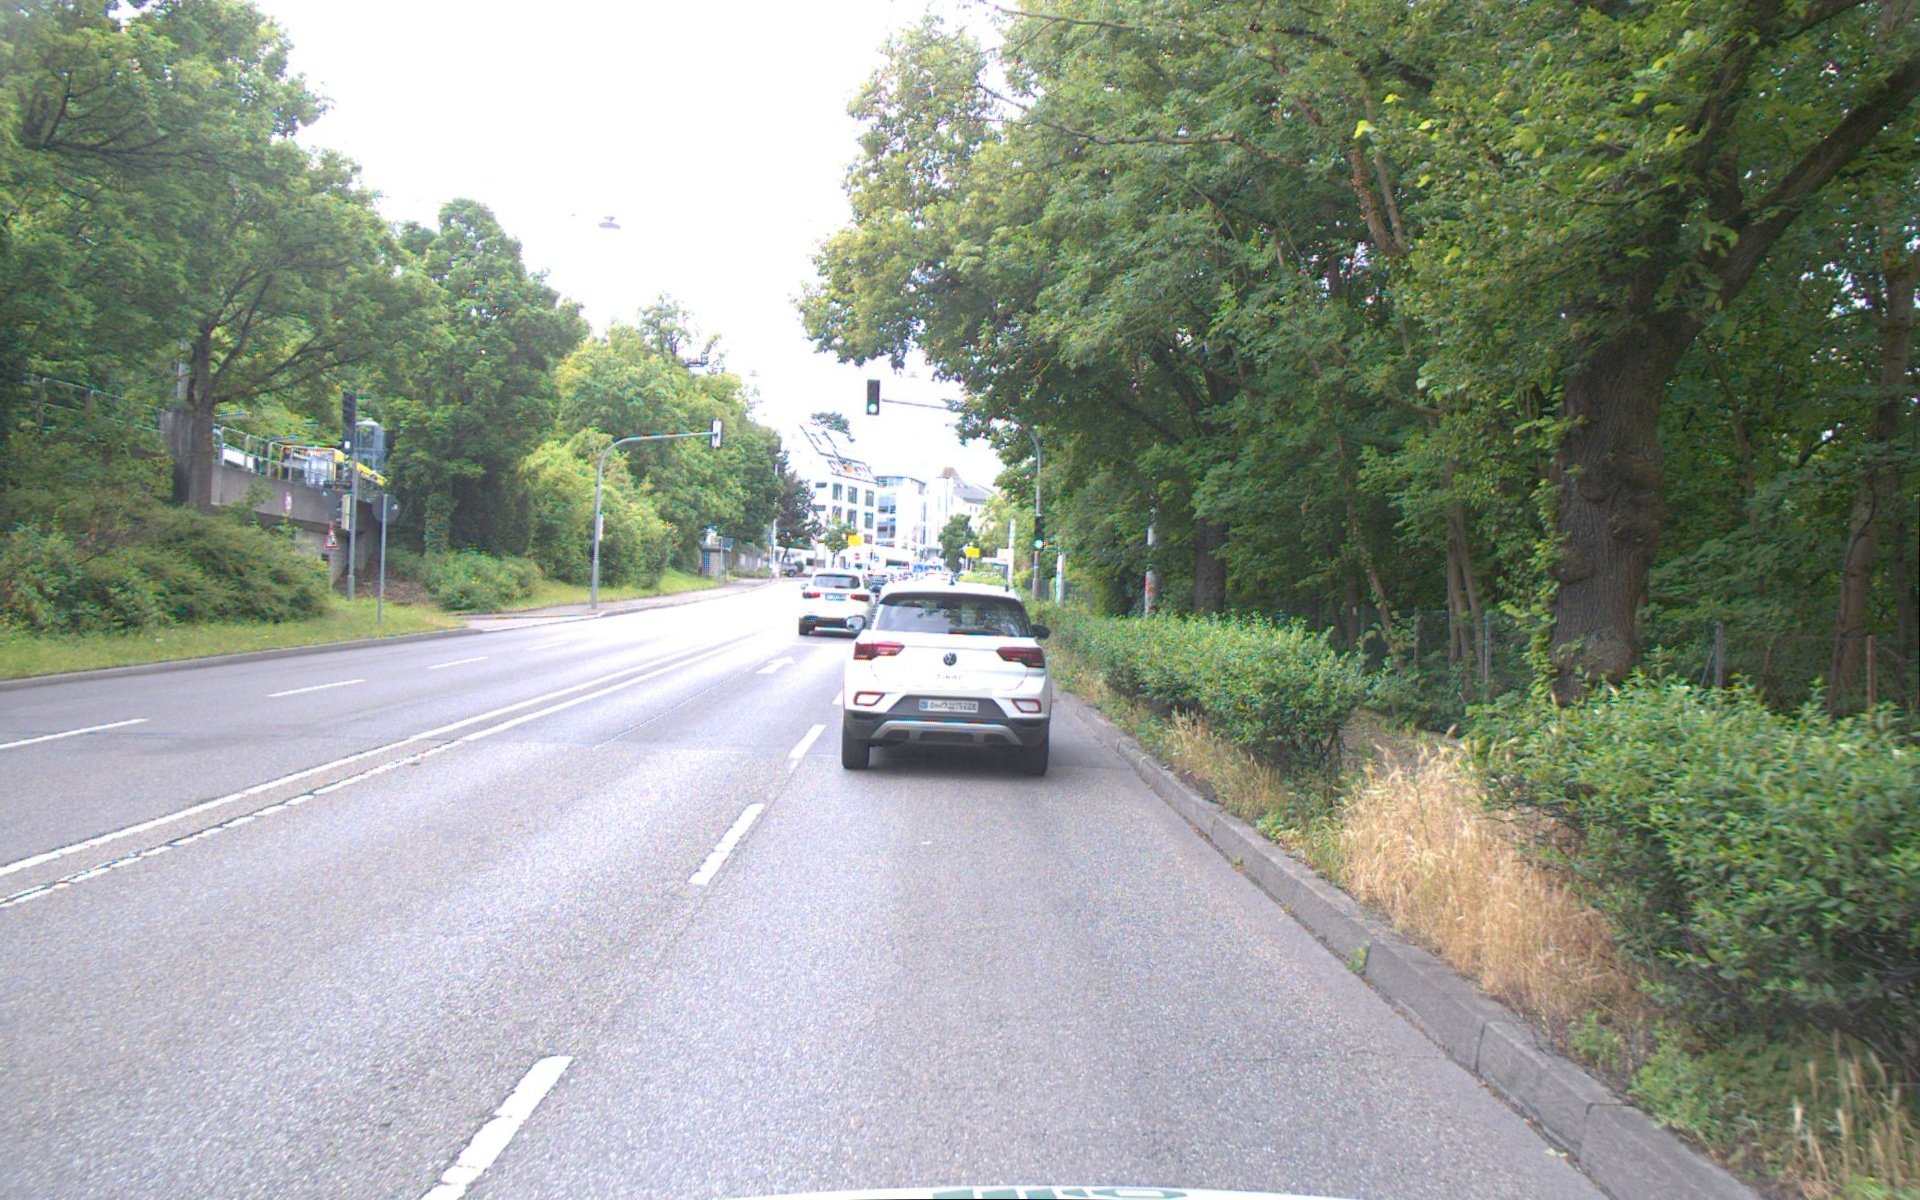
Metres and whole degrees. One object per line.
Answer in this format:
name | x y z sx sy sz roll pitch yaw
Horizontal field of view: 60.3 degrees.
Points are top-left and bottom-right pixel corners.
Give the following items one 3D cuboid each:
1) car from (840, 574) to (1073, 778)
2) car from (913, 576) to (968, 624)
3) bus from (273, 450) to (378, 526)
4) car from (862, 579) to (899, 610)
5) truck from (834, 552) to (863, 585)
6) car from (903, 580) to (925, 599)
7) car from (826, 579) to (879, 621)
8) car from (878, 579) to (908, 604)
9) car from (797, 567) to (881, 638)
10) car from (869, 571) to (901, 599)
car | -0.065 0.578 15.062 1.792 1.552 3.999 2 1 -1
car | -0.683 -0.018 57.212 1.792 1.552 3.999 1 1 -1
bus | -29.180 -5.083 76.412 2.492 2.838 7.932 1 -1 -6
car | -4.176 -0.298 87.514 1.792 1.552 3.999 1 1 -1
truck | -9.569 -2.732 142.266 2.314 2.753 4.477 1 1 -1
car | -3.817 -0.881 137.113 1.792 1.552 3.999 1 1 -1
car | -4.039 -0.032 62.829 1.792 1.523 3.999 1 1 -1
car | -4.339 -0.561 107.294 1.792 1.552 3.999 1 1 -1
car | -3.031 0.040 42.157 1.879 1.698 3.999 1 1 -1
car | -4.459 -0.909 99.114 1.792 1.552 3.999 1 1 -1
